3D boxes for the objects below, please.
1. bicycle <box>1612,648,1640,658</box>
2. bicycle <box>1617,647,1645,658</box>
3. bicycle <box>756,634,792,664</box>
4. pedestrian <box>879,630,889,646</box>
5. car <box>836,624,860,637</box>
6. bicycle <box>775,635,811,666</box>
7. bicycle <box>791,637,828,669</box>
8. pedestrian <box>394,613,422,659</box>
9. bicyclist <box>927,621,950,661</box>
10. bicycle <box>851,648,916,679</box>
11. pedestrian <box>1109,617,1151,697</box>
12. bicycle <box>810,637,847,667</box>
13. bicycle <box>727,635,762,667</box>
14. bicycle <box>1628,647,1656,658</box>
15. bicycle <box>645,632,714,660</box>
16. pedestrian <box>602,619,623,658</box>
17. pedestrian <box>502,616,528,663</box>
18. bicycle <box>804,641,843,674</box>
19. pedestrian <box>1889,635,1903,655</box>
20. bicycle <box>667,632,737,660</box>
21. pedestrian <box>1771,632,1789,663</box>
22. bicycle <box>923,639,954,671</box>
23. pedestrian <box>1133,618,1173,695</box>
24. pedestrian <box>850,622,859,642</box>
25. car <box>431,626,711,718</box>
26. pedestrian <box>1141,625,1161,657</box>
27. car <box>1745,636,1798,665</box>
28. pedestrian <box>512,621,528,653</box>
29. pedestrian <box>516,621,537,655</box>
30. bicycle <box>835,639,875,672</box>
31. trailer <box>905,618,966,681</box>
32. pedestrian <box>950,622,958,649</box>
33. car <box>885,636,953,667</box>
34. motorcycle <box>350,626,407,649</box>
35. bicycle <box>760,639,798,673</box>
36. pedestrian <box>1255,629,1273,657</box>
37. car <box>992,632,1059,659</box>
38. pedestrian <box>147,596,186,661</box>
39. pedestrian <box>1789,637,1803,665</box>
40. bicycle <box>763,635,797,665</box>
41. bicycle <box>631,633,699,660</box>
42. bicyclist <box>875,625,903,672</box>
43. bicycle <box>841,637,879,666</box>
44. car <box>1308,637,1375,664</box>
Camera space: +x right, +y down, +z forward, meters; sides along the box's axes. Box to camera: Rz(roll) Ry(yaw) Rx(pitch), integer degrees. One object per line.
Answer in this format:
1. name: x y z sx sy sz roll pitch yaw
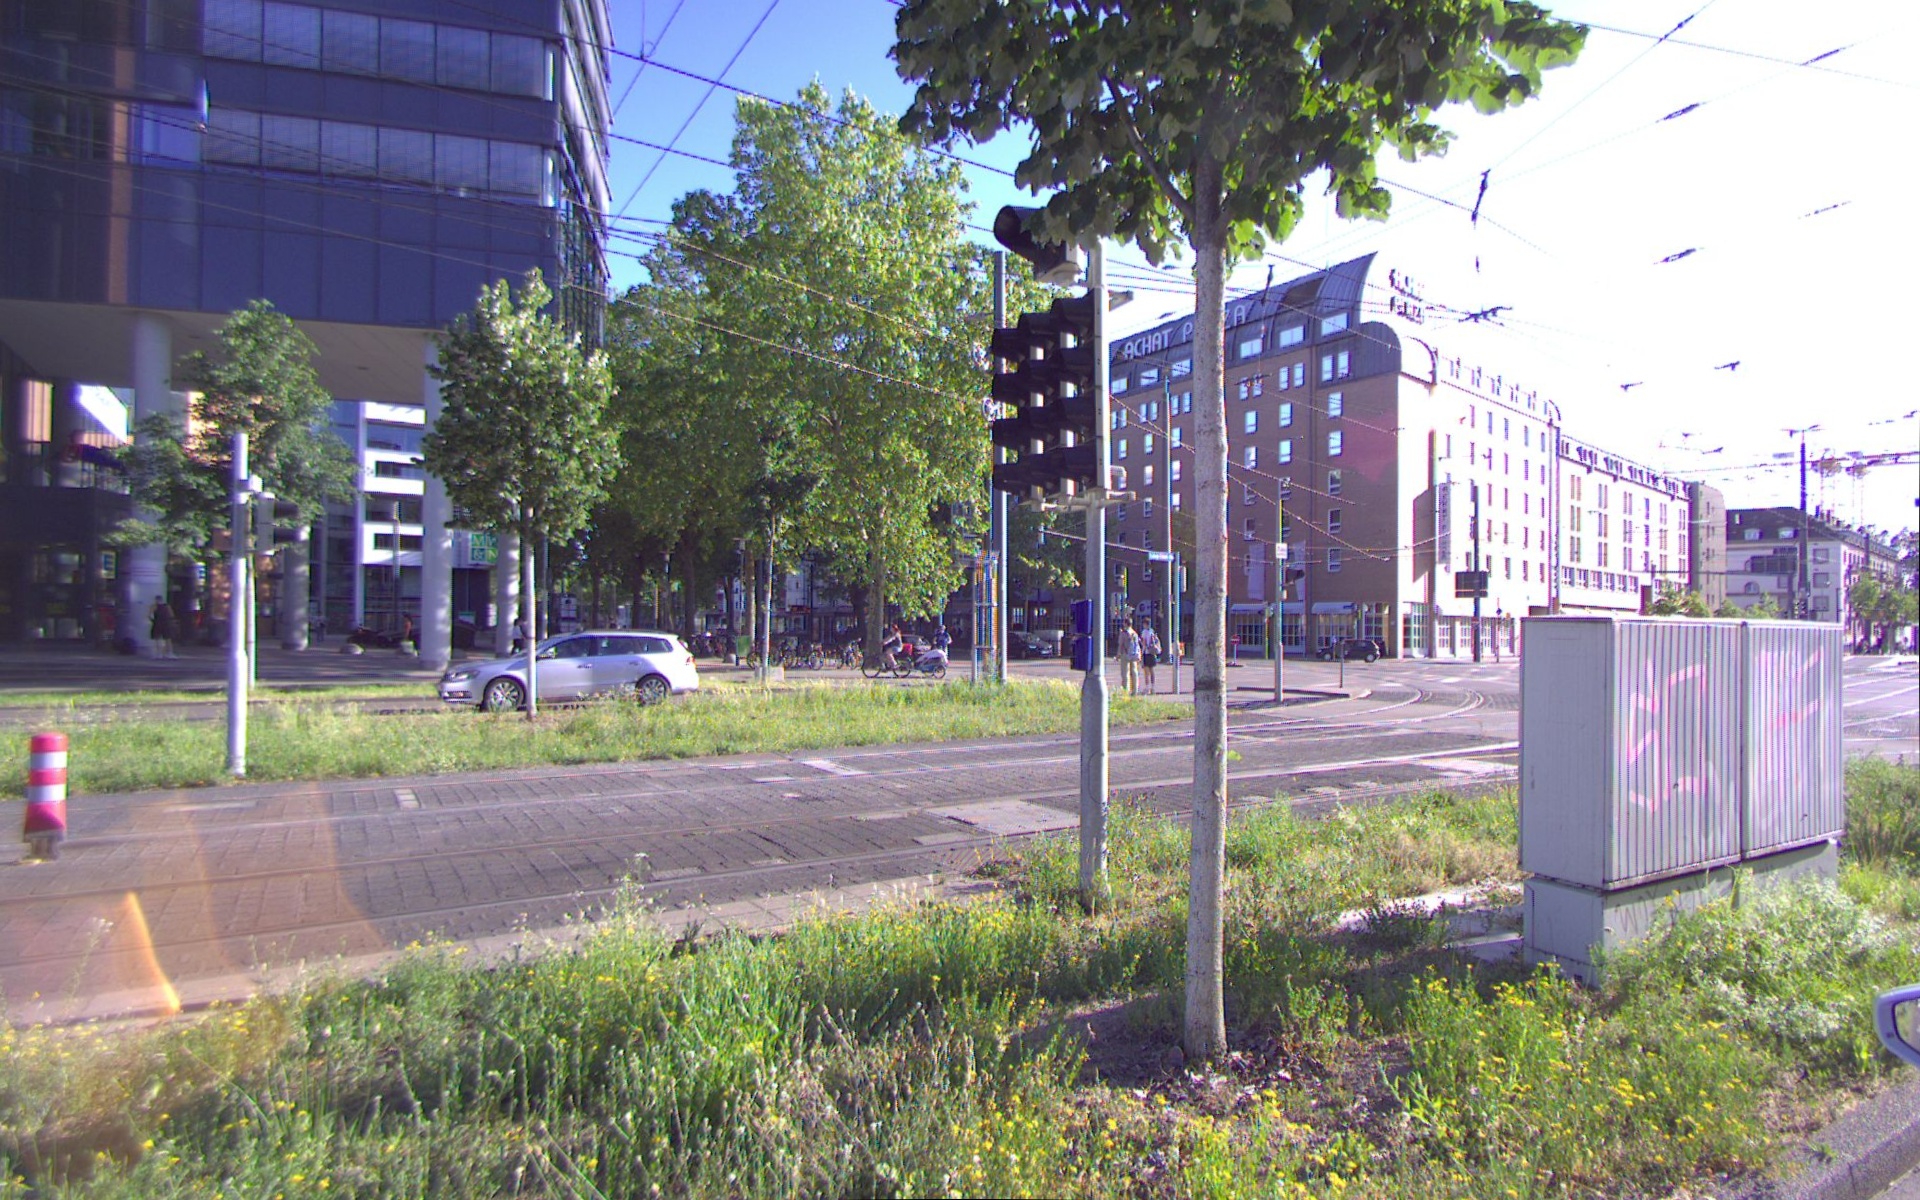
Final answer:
1. bicycle: 57.413 4.575 86.558 0.477 0.856 2.024 1 -2 -30
2. bicycle: 58.443 4.578 87.525 0.477 0.933 2.024 1 -2 -30
3. bicycle: -7.260 1.892 39.142 0.592 1.143 2.348 0 -1 -30
4. pedestrian: -5.695 2.856 75.059 0.583 1.179 0.742 1 -1 -17
5. car: -14.550 3.986 130.272 1.658 1.674 3.659 2 -2 -31
6. bicycle: -6.483 1.939 38.837 0.592 1.143 2.348 0 -1 -30
7. bicycle: -5.878 2.039 39.033 0.592 1.143 2.348 0 -1 -30
8. pedestrian: -20.060 1.310 36.518 0.722 1.644 0.696 1 -1 -18
9. bicyclist: -0.834 1.556 38.150 0.683 1.480 0.751 1 -1 -18
10. bicycle: -2.531 2.102 33.352 2.043 0.962 0.686 2 -1 -31
11. pedestrian: 4.137 1.378 24.443 0.691 1.894 0.728 1 -2 -31
12. bicycle: -5.288 2.071 40.216 0.592 1.143 2.348 0 -1 -30
13. bicycle: -8.304 1.939 38.607 0.592 1.143 2.348 0 -1 -30
14. bicycle: 59.628 4.595 87.803 0.477 0.933 2.024 1 -2 -30
15. bicycle: -14.307 2.341 51.270 1.021 1.371 3.342 -1 -2 44
16. pedestrian: -15.170 1.684 43.801 0.691 1.674 0.700 2 -1 -32
17. pedestrian: -16.343 1.448 36.891 0.819 1.702 0.712 -1 -1 -23
18. bicycle: -4.968 2.066 36.415 0.592 1.143 2.349 0 -1 -29
19. pedestrian: 82.297 3.940 88.351 0.850 1.692 0.781 0 0 39
20. bicycle: -12.810 2.273 49.946 1.021 1.371 3.342 -1 -2 44
21. pedestrian: 47.384 2.742 58.041 0.589 1.750 0.715 2 -2 -39
22. bicycle: -0.836 2.083 38.112 0.683 1.152 1.844 1 -2 -18
23. pedestrian: 4.806 1.402 25.088 0.666 1.894 0.727 1 -2 -33
24. pedestrian: -8.764 2.623 83.136 0.557 1.594 0.636 2 0 -20
25. car: -7.355 1.304 19.256 4.758 1.548 1.610 2 -2 -37
26. pedestrian: 10.540 2.254 55.473 0.821 1.702 0.711 0 -1 -30
27. car: 53.566 3.353 66.312 4.071 1.859 1.825 2 -4 -38
28. pedestrian: -24.573 2.068 56.133 0.691 1.737 0.727 1 -1 -33
29. pedestrian: -20.963 1.843 48.586 0.685 1.644 0.734 1 -1 1
30. bicycle: -3.899 2.029 37.173 0.592 1.143 2.349 0 -1 -29
31. trailer: -0.857 1.660 34.431 1.257 2.040 1.983 2 0 -31
32. pedestrian: -0.431 2.510 71.114 0.581 1.853 0.745 1 -1 -1
33. car: -2.060 2.492 49.072 1.652 1.425 3.968 2 -3 -30
34. motorcycle: -28.662 1.853 49.577 2.309 1.072 0.828 1 -1 -22
35. bicycle: -6.512 1.992 36.074 0.592 1.143 2.349 0 -1 -29
36. pedestrian: 18.589 2.605 61.395 0.824 1.702 0.708 0 -1 -39
37. car: 3.555 2.469 55.139 1.653 1.433 3.965 2 -3 -32
38. pedestrian: -21.588 0.774 27.348 0.691 1.727 0.728 1 -2 -31
39. pedestrian: 49.309 3.003 59.253 0.573 1.598 0.644 0 -2 36
40. bicycle: -7.373 2.023 41.109 0.592 1.143 2.348 0 -1 -30
41. bicycle: -15.361 2.393 52.337 1.021 1.371 3.342 -1 -2 44
42. bicyclist: -2.370 1.609 33.447 0.695 1.550 0.686 1 -1 -31
43. bicycle: -4.065 2.068 40.700 0.592 1.143 2.348 0 -1 -30
44. car: 23.782 3.141 62.761 3.783 1.622 1.616 0 -1 16
